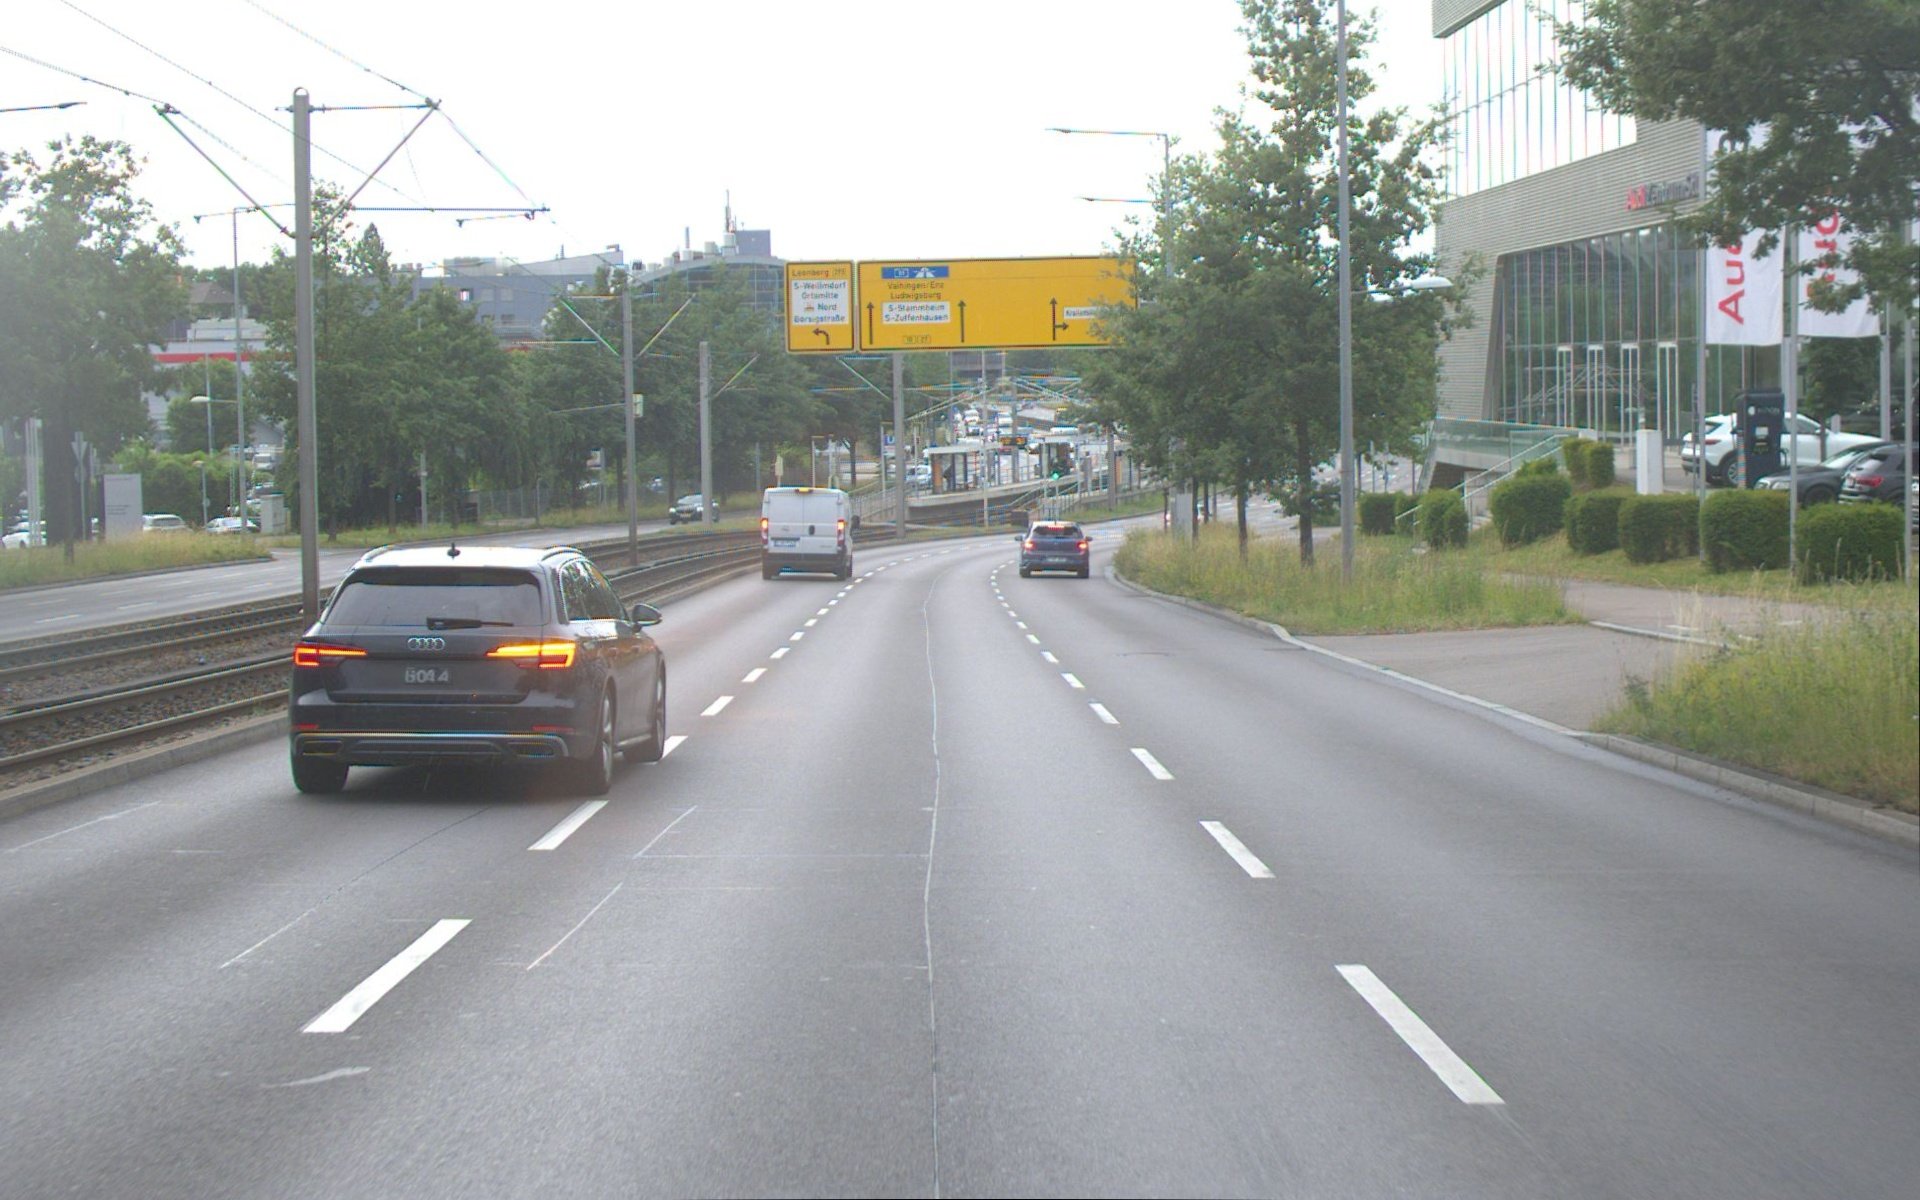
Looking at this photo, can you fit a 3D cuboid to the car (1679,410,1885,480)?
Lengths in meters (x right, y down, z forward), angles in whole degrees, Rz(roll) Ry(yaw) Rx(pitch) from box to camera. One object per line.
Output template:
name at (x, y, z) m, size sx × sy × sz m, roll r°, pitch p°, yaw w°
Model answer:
car at (18.668, -3.515, 78.174) m, size 4.259 × 1.568 × 1.693 m, roll 0°, pitch 2°, yaw -1°

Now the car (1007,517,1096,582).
car at (2.361, -1.312, 89.746) m, size 2.021 × 1.617 × 4.001 m, roll 1°, pitch 1°, yaw -3°

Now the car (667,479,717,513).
car at (-12.930, -5.039, 166.095) m, size 1.883 × 1.515 × 4.403 m, roll -3°, pitch 2°, yaw 2°

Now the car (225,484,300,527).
car at (-28.841, -3.899, 142.266) m, size 1.994 × 1.645 × 3.999 m, roll 1°, pitch 1°, yaw 4°

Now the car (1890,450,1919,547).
car at (17.937, -1.705, 57.783) m, size 4.105 × 1.603 × 1.693 m, roll 0°, pitch 2°, yaw -1°

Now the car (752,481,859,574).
car at (-3.809, -1.770, 84.713) m, size 2.511 × 2.169 × 5.150 m, roll 1°, pitch 1°, yaw -3°

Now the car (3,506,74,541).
car at (-41.286, -3.440, 153.982) m, size 1.993 × 1.505 × 4.000 m, roll 1°, pitch 1°, yaw -32°

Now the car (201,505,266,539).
car at (-33.240, -3.558, 157.309) m, size 1.993 × 1.505 × 4.001 m, roll 1°, pitch 1°, yaw -26°

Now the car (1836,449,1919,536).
car at (18.261, -1.963, 62.683) m, size 4.105 × 1.568 × 1.693 m, roll 0°, pitch 2°, yaw -1°

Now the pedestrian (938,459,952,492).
pedestrian at (-0.841, -7.021, 194.022) m, size 0.637 × 1.848 × 0.750 m, roll 1°, pitch 1°, yaw 11°

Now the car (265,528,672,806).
car at (-2.854, 0.315, 20.904) m, size 1.764 × 1.458 × 4.627 m, roll 1°, pitch 1°, yaw 0°

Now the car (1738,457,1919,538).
car at (17.803, -2.035, 67.991) m, size 4.420 × 1.568 × 1.693 m, roll 0°, pitch 2°, yaw -1°

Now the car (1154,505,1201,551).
car at (9.428, -3.134, 149.029) m, size 2.021 × 1.763 × 4.001 m, roll 1°, pitch 5°, yaw 4°
